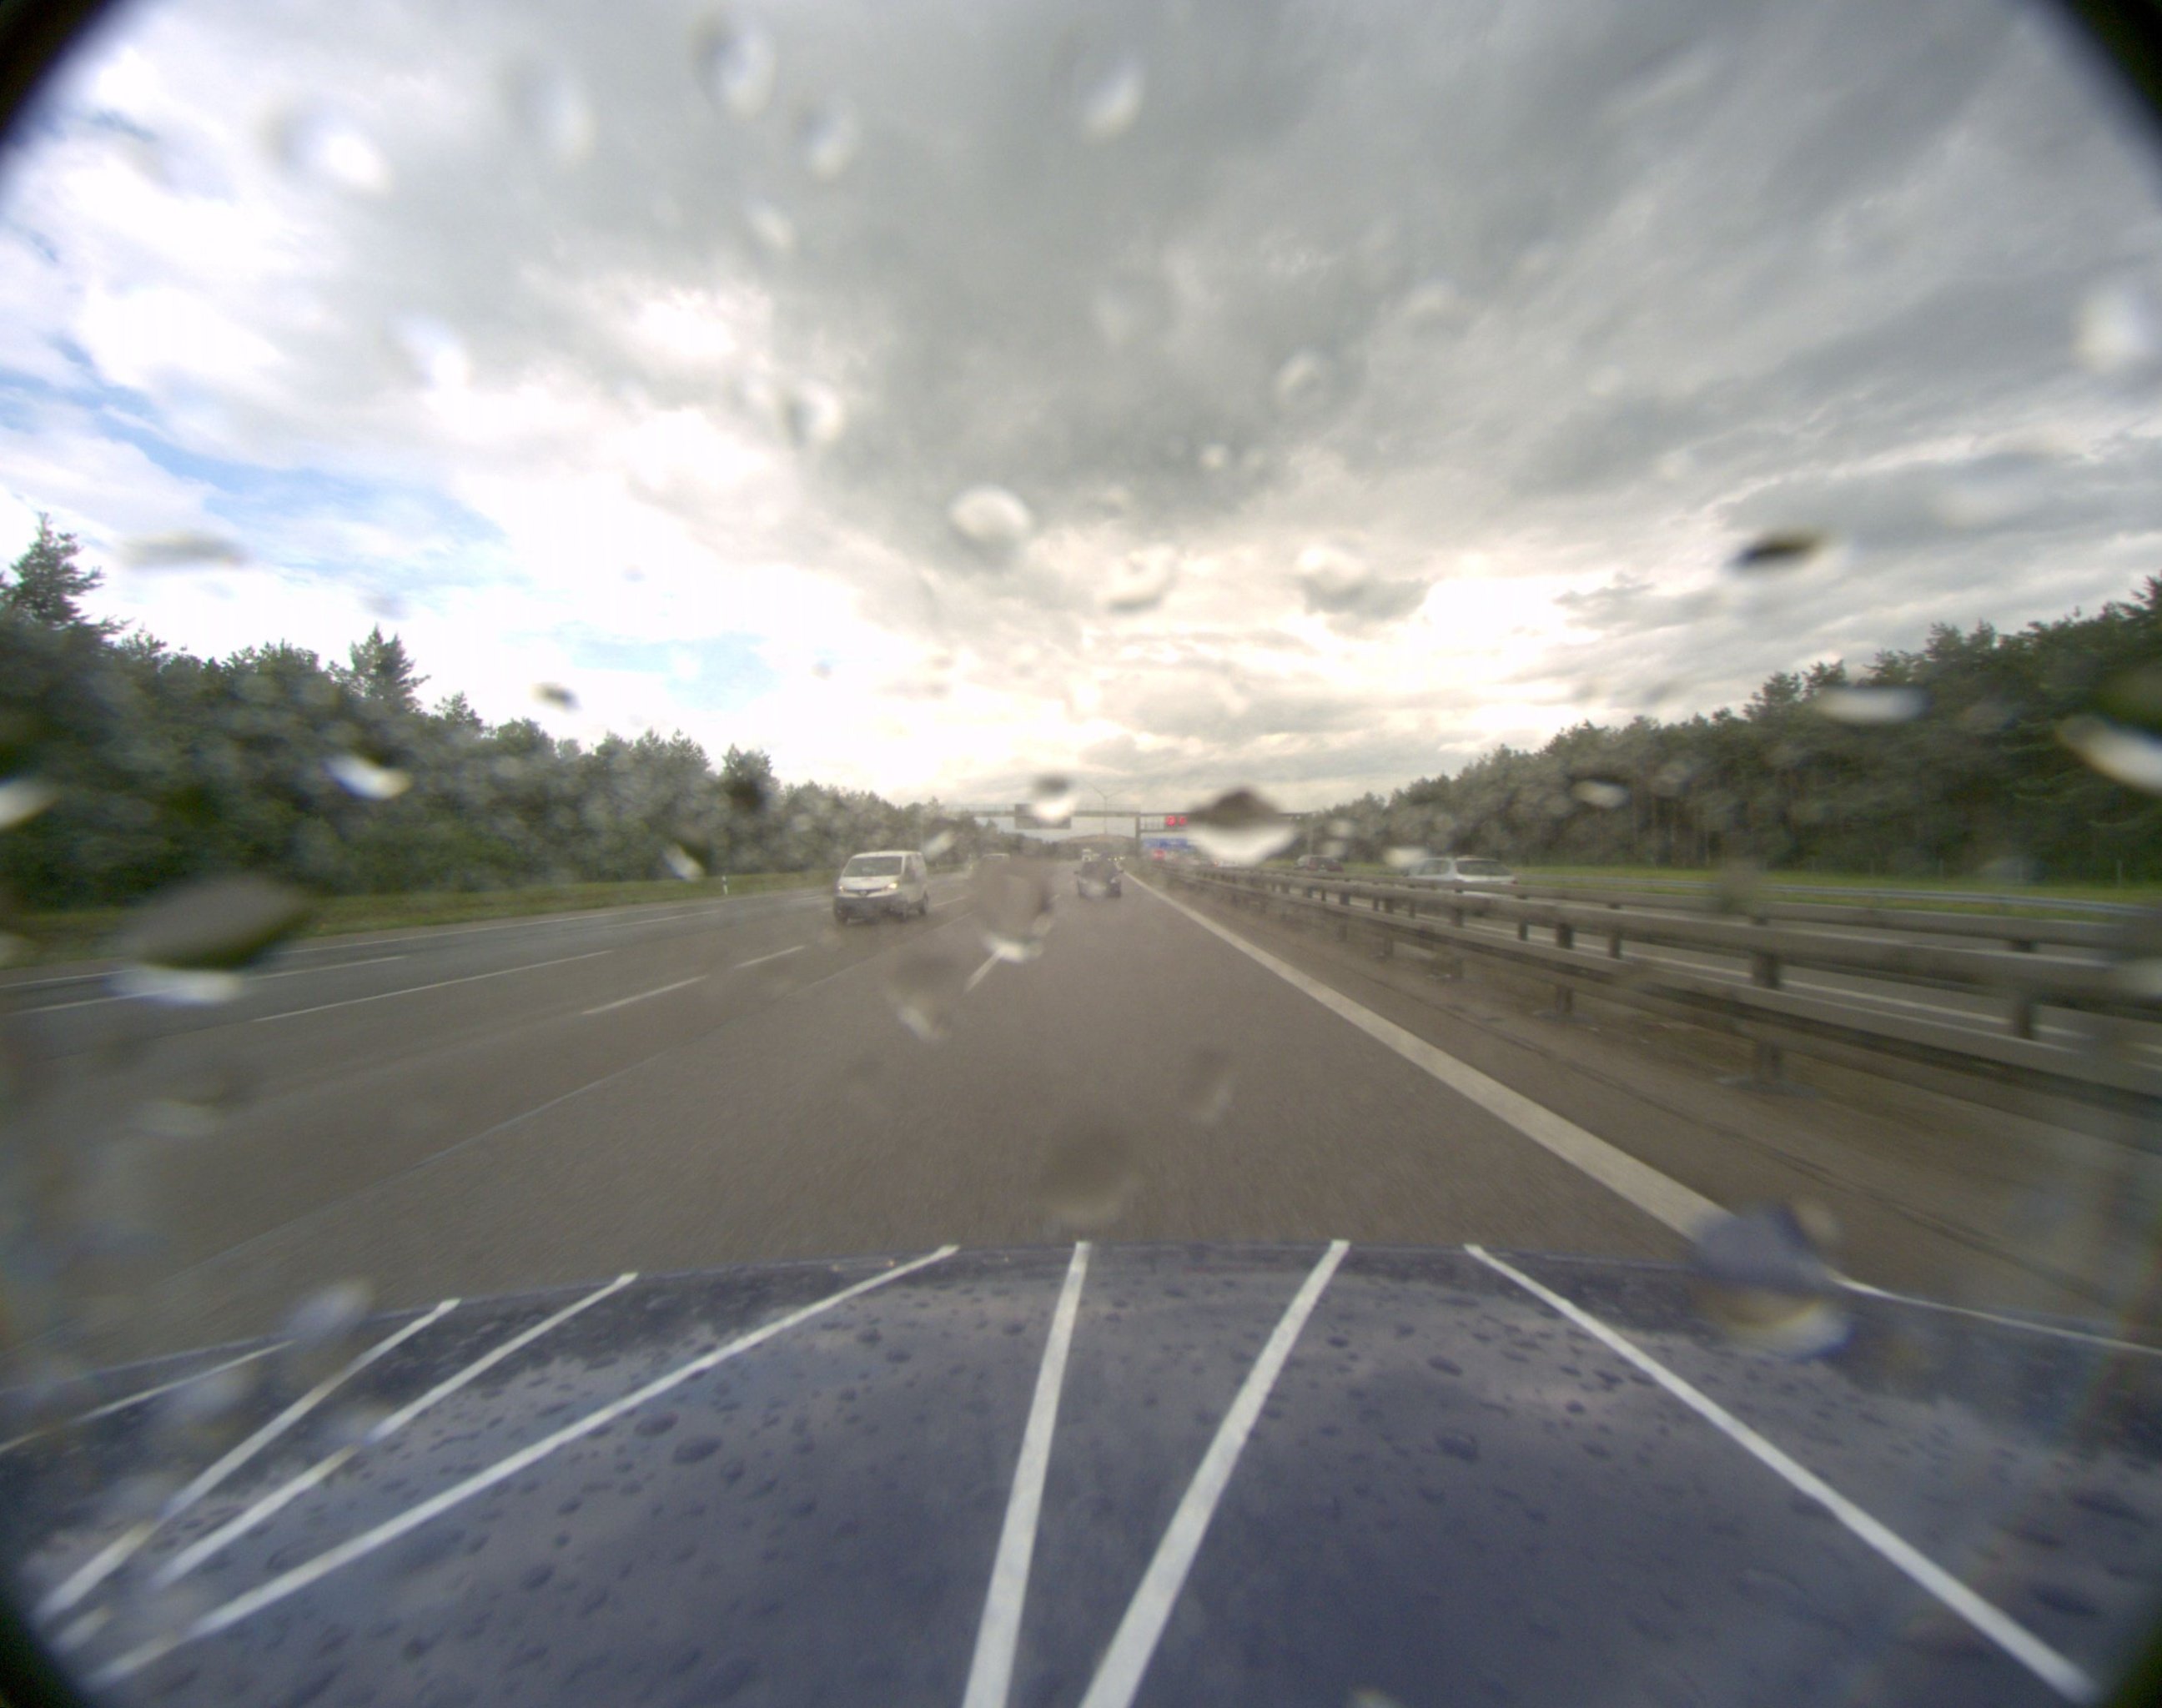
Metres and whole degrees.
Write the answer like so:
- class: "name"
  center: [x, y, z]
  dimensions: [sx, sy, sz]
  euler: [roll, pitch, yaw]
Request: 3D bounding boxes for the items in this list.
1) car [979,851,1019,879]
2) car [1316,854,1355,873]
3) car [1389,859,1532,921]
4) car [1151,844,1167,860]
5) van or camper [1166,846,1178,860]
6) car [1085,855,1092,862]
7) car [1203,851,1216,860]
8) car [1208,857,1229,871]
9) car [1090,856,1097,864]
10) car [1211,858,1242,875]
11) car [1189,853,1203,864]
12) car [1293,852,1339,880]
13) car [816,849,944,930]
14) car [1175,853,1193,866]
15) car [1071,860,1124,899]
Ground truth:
- class: "car"
  center: [-6.153, 0.796, 57.591]
  dimensions: [1.998, 2.002, 5.484]
  euler: [-2, 0, 4]
- class: "car"
  center: [19.879, 0.702, 59.497]
  dimensions: [1.728, 1.388, 4.183]
  euler: [2, 0, 1]
- class: "car"
  center: [9.492, 0.832, 19.390]
  dimensions: [1.697, 1.368, 4.000]
  euler: [-1, 0, 1]
- class: "car"
  center: [13.658, -0.374, 133.242]
  dimensions: [2.138, 2.646, 6.674]
  euler: [0, 0, 1]
- class: "van or camper"
  center: [21.378, -0.197, 178.676]
  dimensions: [2.306, 3.094, 7.545]
  euler: [1, 0, 4]
- class: "car"
  center: [2.356, 1.308, 233.945]
  dimensions: [1.998, 2.002, 4.000]
  euler: [0, 0, 2]
- class: "car"
  center: [23.552, 0.324, 139.623]
  dimensions: [1.727, 1.587, 4.155]
  euler: [-1, 0, 1]
- class: "car"
  center: [15.846, 1.113, 87.859]
  dimensions: [1.757, 1.570, 3.847]
  euler: [-1, 0, 1]
- class: "car"
  center: [3.432, 1.690, 211.902]
  dimensions: [1.998, 2.002, 4.000]
  euler: [0, 0, 2]
- class: "car"
  center: [11.361, 0.957, 59.358]
  dimensions: [1.698, 1.252, 4.062]
  euler: [0, 0, 1]
- class: "car"
  center: [17.864, 0.695, 118.439]
  dimensions: [1.756, 1.570, 3.954]
  euler: [-1, 0, 3]
- class: "car"
  center: [15.149, 0.740, 49.255]
  dimensions: [1.728, 1.674, 4.137]
  euler: [2, 0, 1]
- class: "car"
  center: [-5.254, 0.849, 20.656]
  dimensions: [1.968, 1.890, 4.882]
  euler: [-1, 0, 2]
- class: "car"
  center: [12.736, 0.625, 94.293]
  dimensions: [1.794, 1.533, 3.722]
  euler: [0, 0, 2]
- class: "car"
  center: [0.719, 0.955, 29.970]
  dimensions: [1.809, 1.321, 4.432]
  euler: [-1, 0, 5]
